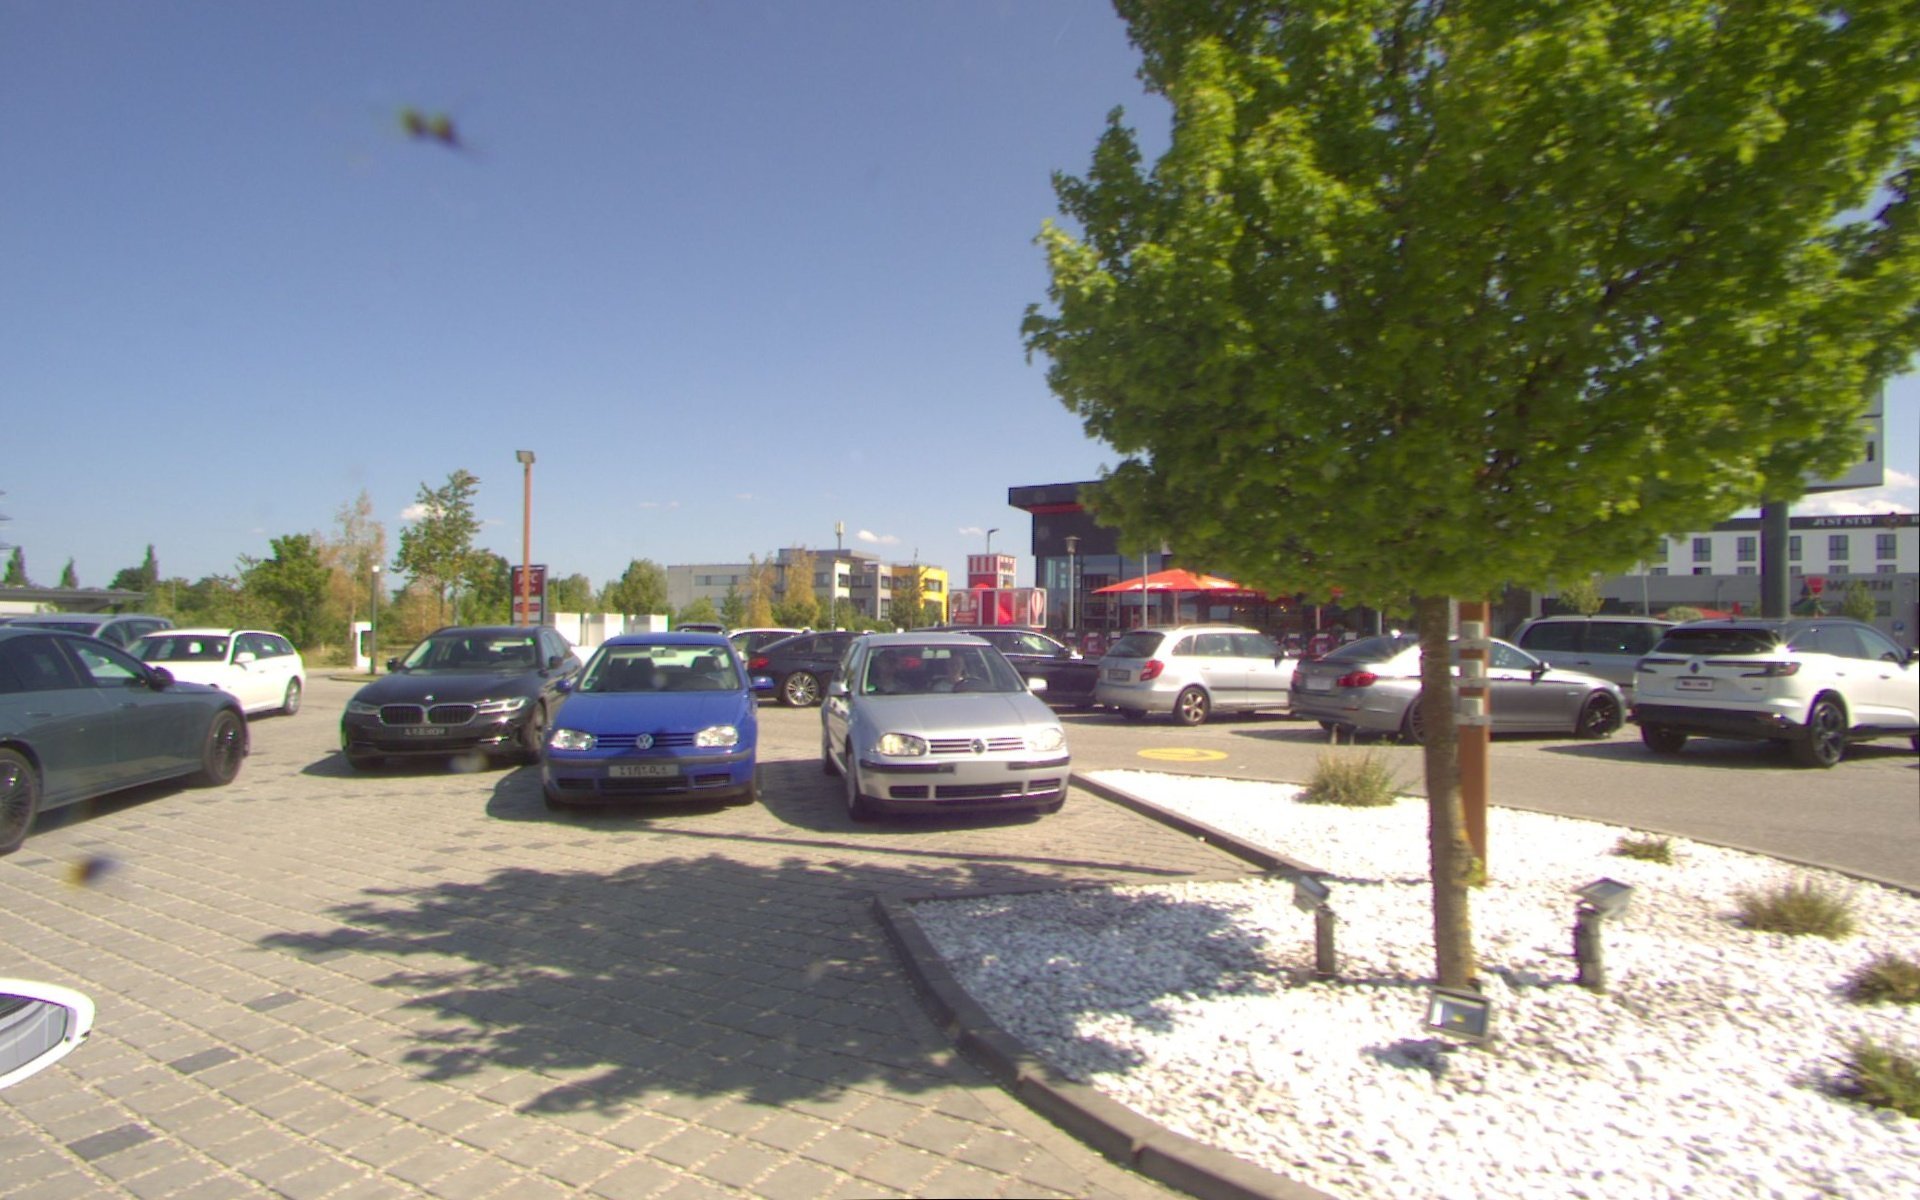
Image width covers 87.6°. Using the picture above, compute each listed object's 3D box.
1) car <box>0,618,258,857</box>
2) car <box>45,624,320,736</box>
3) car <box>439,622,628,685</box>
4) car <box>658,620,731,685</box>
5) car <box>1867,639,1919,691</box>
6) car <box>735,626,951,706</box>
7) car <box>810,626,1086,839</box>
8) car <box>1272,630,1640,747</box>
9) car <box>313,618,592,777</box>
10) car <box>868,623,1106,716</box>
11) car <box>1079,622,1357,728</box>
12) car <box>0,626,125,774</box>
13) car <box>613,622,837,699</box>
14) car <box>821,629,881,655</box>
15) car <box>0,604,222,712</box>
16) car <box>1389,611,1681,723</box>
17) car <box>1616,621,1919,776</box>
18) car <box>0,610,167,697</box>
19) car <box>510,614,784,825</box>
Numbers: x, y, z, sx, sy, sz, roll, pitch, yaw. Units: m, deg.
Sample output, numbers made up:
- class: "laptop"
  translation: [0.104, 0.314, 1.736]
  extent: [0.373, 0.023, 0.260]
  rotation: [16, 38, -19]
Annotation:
- class: "car"
  translation: [-7.304, 0.904, 7.407]
  extent: [1.853, 1.530, 4.539]
  rotation: [1, -2, -13]
- class: "car"
  translation: [-11.444, 1.098, 15.125]
  extent: [1.761, 1.426, 4.077]
  rotation: [1, -1, -14]
- class: "car"
  translation: [-10.345, 1.303, 24.641]
  extent: [4.113, 1.444, 1.841]
  rotation: [1, -2, -18]
- class: "car"
  translation: [-6.995, 1.363, 26.701]
  extent: [1.725, 1.596, 4.084]
  rotation: [1, -2, -13]
- class: "car"
  translation: [28.880, 1.898, 29.028]
  extent: [3.709, 1.472, 1.676]
  rotation: [-1, -2, 39]
- class: "car"
  translation: [-2.284, 1.237, 19.206]
  extent: [3.927, 1.421, 1.819]
  rotation: [1, -2, -14]
- class: "car"
  translation: [-0.344, 0.965, 8.889]
  extent: [1.675, 1.444, 3.900]
  rotation: [1, -2, -13]
- class: "car"
  translation: [6.776, 1.158, 13.755]
  extent: [4.599, 1.429, 1.710]
  rotation: [1, -2, -16]
- class: "car"
  translation: [-5.751, 1.029, 12.014]
  extent: [1.947, 1.530, 4.414]
  rotation: [1, -2, -13]
- class: "car"
  translation: [0.385, 1.180, 17.352]
  extent: [3.923, 1.508, 1.821]
  rotation: [1, -2, -6]
- class: "car"
  translation: [4.192, 1.158, 16.174]
  extent: [4.287, 1.530, 1.771]
  rotation: [2, -2, -28]
- class: "car"
  translation: [-10.328, 0.968, 9.587]
  extent: [1.795, 1.467, 4.074]
  rotation: [1, -2, -11]
- class: "car"
  translation: [-4.945, 1.250, 21.031]
  extent: [4.395, 1.490, 1.910]
  rotation: [1, -2, -19]
- class: "car"
  translation: [-6.913, 2.665, 63.705]
  extent: [1.920, 1.588, 3.986]
  rotation: [0, -2, 27]
- class: "car"
  translation: [-14.823, 0.965, 17.498]
  extent: [1.717, 1.661, 4.062]
  rotation: [1, -2, -15]
- class: "car"
  translation: [10.121, 1.125, 17.858]
  extent: [4.305, 1.772, 2.062]
  rotation: [-1, -2, 32]
- class: "car"
  translation: [9.961, 1.078, 11.879]
  extent: [3.991, 1.576, 1.801]
  rotation: [1, -2, -24]
- class: "car"
  translation: [-17.994, 1.001, 20.018]
  extent: [1.862, 1.556, 4.184]
  rotation: [1, -1, -16]
- class: "car"
  translation: [-2.801, 0.958, 9.651]
  extent: [1.947, 1.530, 4.414]
  rotation: [1, -2, -13]
